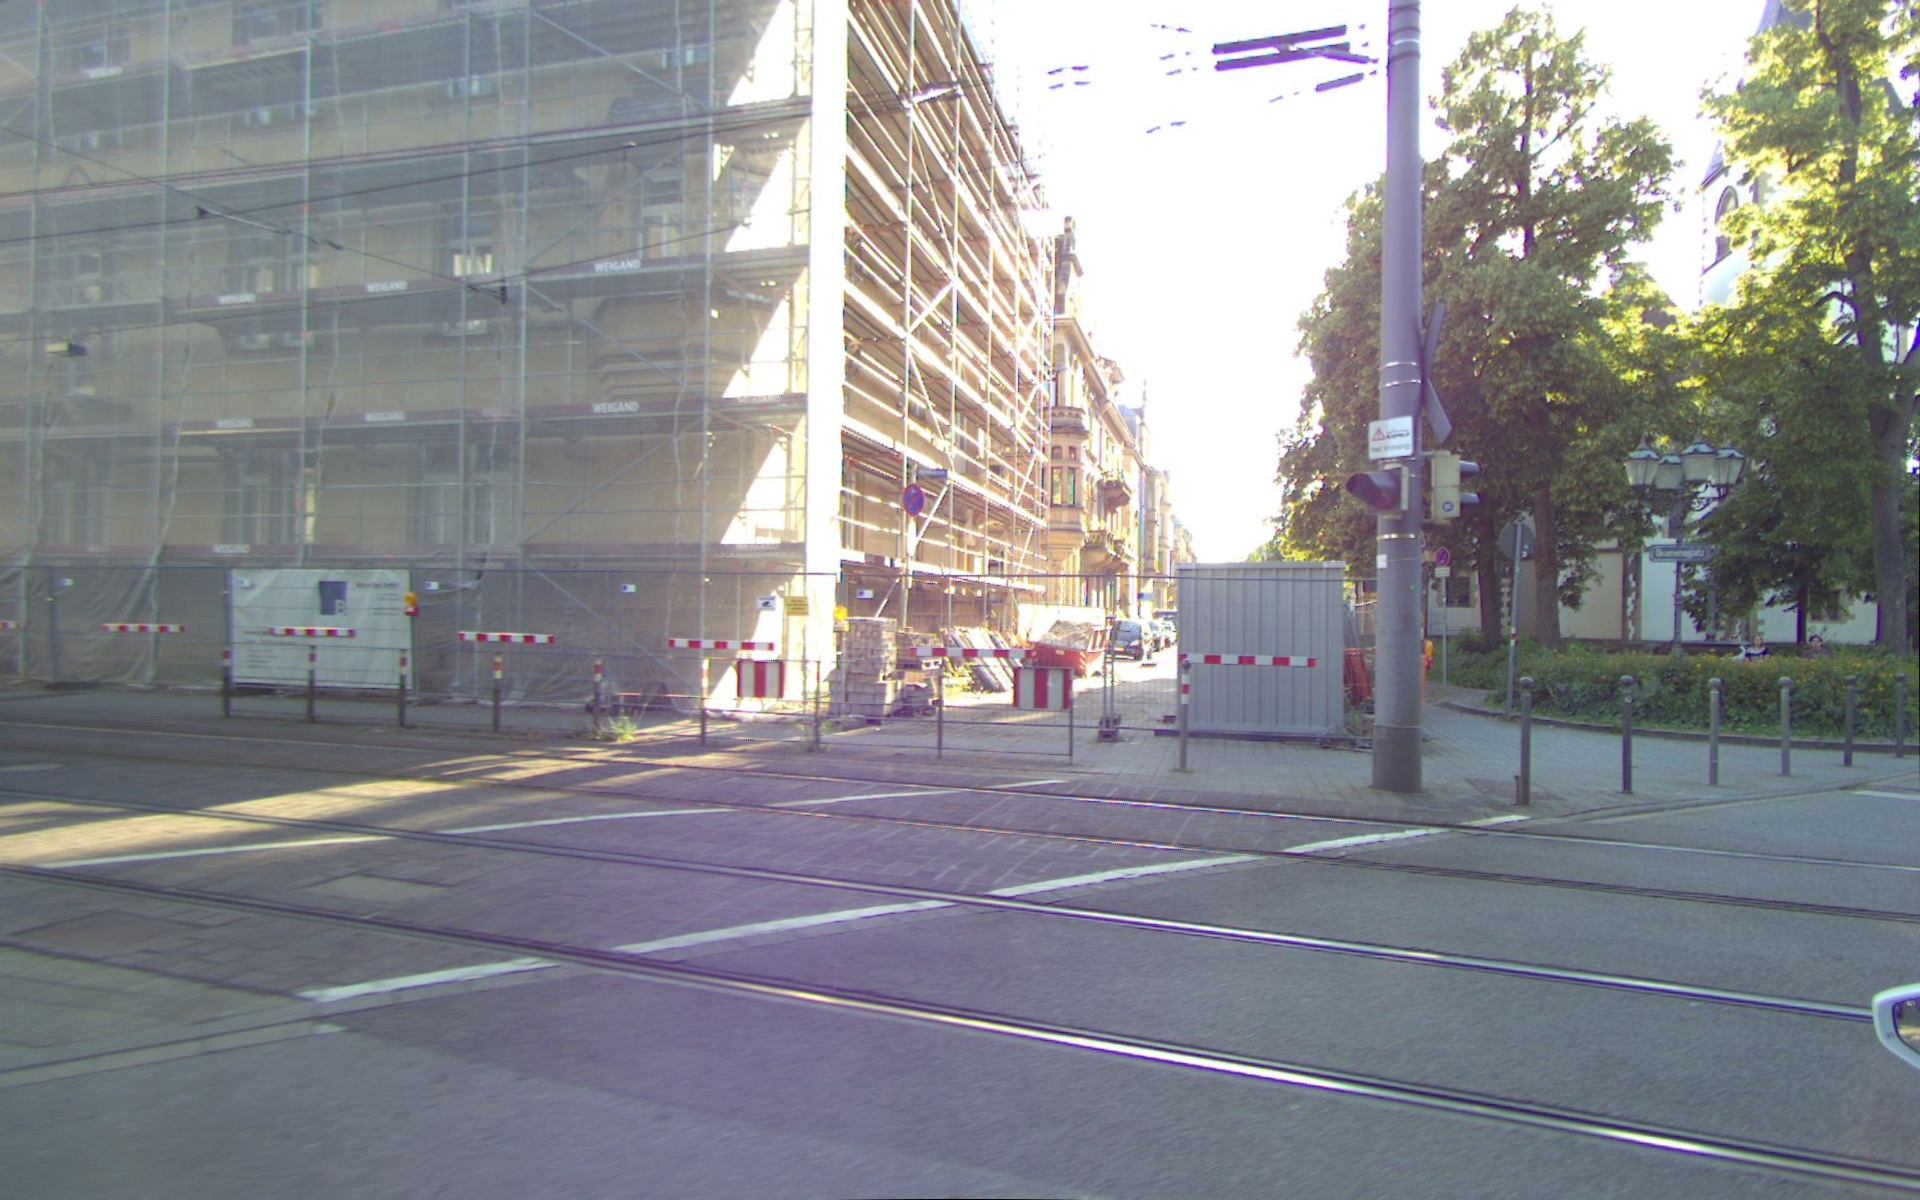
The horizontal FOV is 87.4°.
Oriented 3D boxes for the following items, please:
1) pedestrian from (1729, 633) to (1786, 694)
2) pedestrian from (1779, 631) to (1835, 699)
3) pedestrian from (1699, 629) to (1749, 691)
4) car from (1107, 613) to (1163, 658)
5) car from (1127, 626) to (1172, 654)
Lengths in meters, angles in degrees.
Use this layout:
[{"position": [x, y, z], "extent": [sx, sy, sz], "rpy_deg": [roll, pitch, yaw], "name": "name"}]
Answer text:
[{"position": [16.258, 1.285, 20.481], "extent": [0.871, 1.211, 0.550], "rpy_deg": [1, -1, -22], "name": "pedestrian"}, {"position": [16.693, 1.268, 19.804], "extent": [0.754, 1.315, 0.550], "rpy_deg": [1, -1, -22], "name": "pedestrian"}, {"position": [15.958, 1.242, 20.983], "extent": [0.714, 1.249, 0.550], "rpy_deg": [1, -1, -22], "name": "pedestrian"}, {"position": [7.201, 1.419, 41.078], "extent": [1.874, 1.677, 4.222], "rpy_deg": [1, -1, 15], "name": "car"}, {"position": [9.589, 1.989, 50.553], "extent": [1.874, 1.295, 4.222], "rpy_deg": [1, -1, 15], "name": "car"}]
